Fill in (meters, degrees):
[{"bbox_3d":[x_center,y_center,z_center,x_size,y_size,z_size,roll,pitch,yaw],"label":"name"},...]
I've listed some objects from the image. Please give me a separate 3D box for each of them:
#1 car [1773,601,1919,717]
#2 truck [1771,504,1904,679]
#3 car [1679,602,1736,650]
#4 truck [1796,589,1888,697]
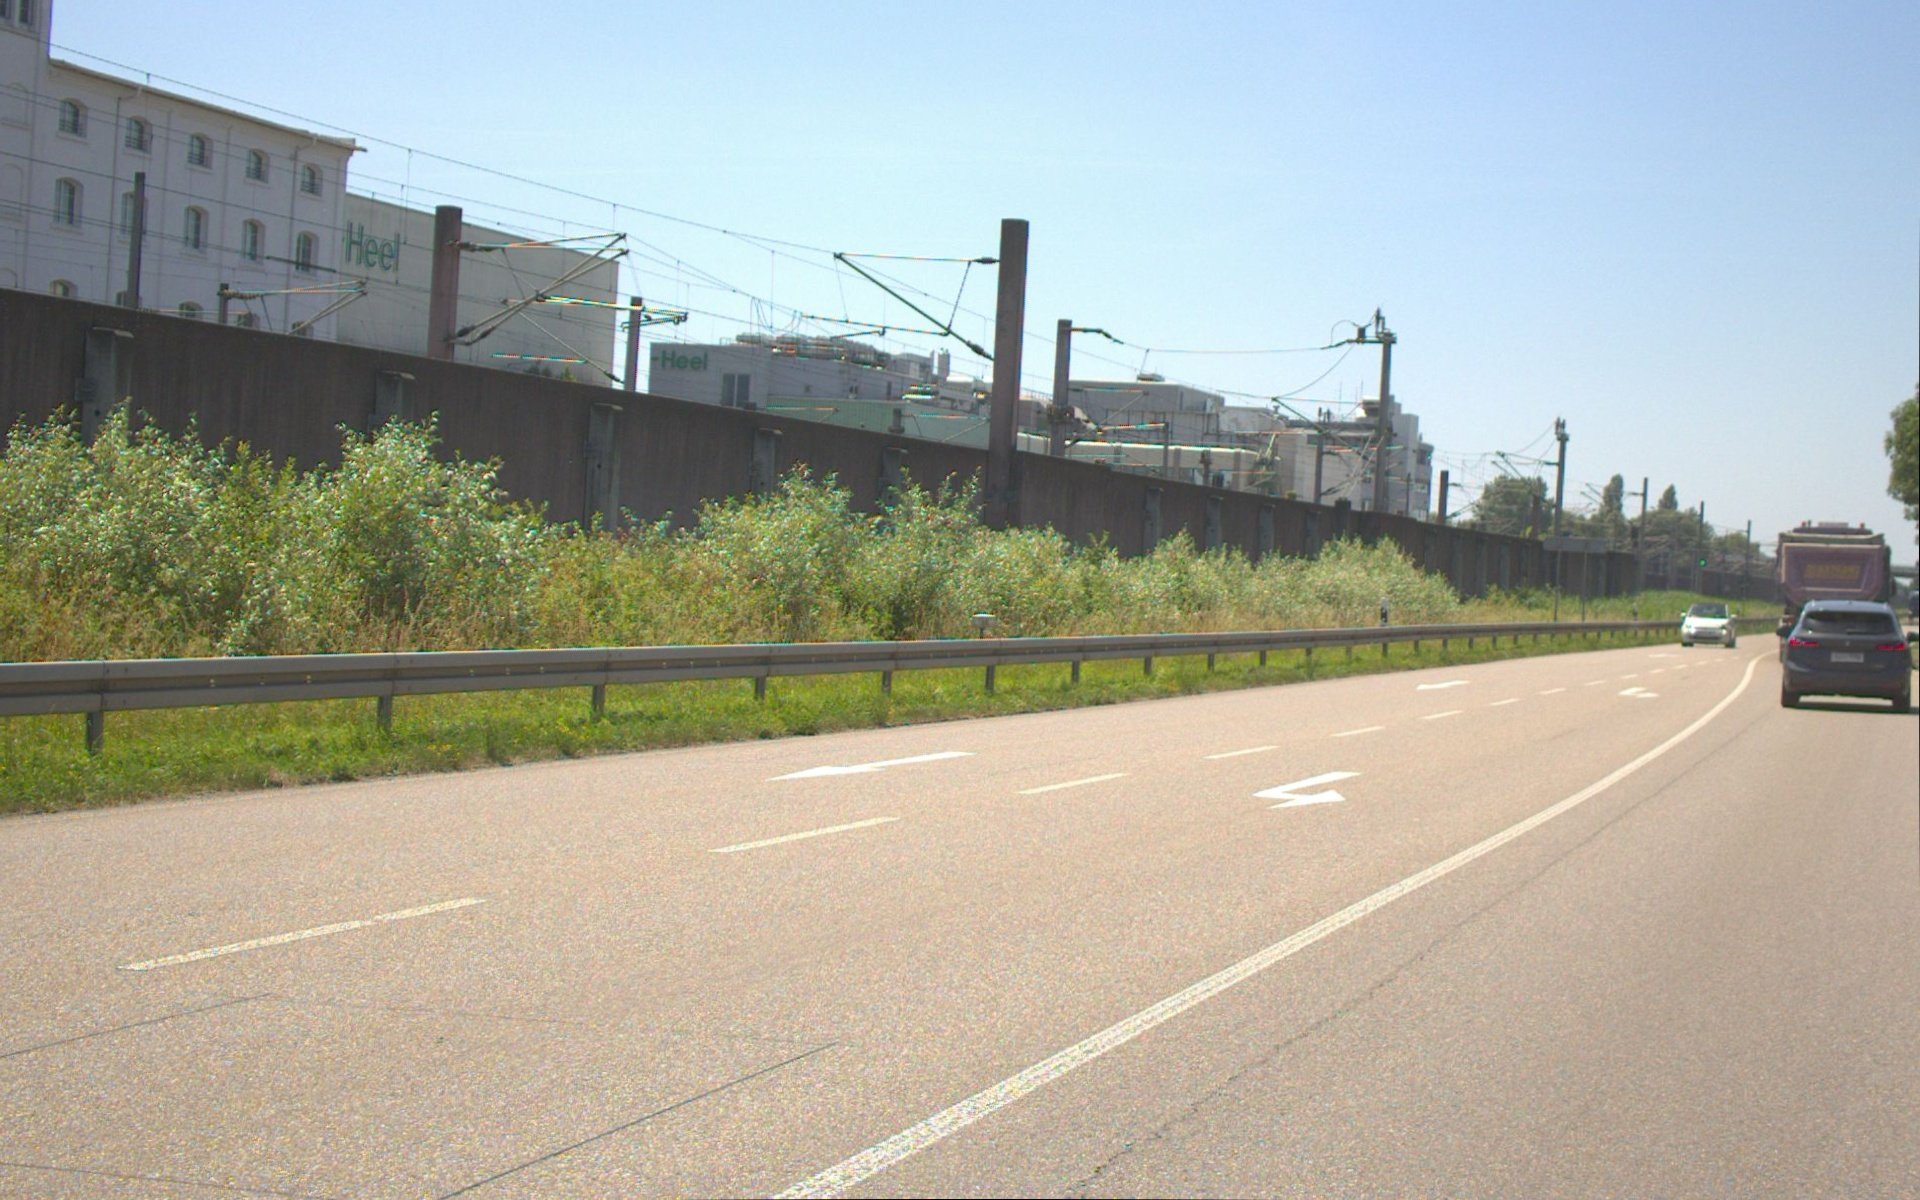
[{"bbox_3d":[12.939,0.873,49.896,1.995,1.498,3.997,3,-1,16],"label":"car"},{"bbox_3d":[22.901,-0.140,89.872,2.998,4.166,11.799,2,0,14],"label":"truck"},{"bbox_3d":[25.282,0.867,116.167,1.673,1.497,3.719,2,1,15],"label":"car"},{"bbox_3d":[32.423,1.591,126.644,2.998,3.707,10.552,2,0,14],"label":"truck"}]
